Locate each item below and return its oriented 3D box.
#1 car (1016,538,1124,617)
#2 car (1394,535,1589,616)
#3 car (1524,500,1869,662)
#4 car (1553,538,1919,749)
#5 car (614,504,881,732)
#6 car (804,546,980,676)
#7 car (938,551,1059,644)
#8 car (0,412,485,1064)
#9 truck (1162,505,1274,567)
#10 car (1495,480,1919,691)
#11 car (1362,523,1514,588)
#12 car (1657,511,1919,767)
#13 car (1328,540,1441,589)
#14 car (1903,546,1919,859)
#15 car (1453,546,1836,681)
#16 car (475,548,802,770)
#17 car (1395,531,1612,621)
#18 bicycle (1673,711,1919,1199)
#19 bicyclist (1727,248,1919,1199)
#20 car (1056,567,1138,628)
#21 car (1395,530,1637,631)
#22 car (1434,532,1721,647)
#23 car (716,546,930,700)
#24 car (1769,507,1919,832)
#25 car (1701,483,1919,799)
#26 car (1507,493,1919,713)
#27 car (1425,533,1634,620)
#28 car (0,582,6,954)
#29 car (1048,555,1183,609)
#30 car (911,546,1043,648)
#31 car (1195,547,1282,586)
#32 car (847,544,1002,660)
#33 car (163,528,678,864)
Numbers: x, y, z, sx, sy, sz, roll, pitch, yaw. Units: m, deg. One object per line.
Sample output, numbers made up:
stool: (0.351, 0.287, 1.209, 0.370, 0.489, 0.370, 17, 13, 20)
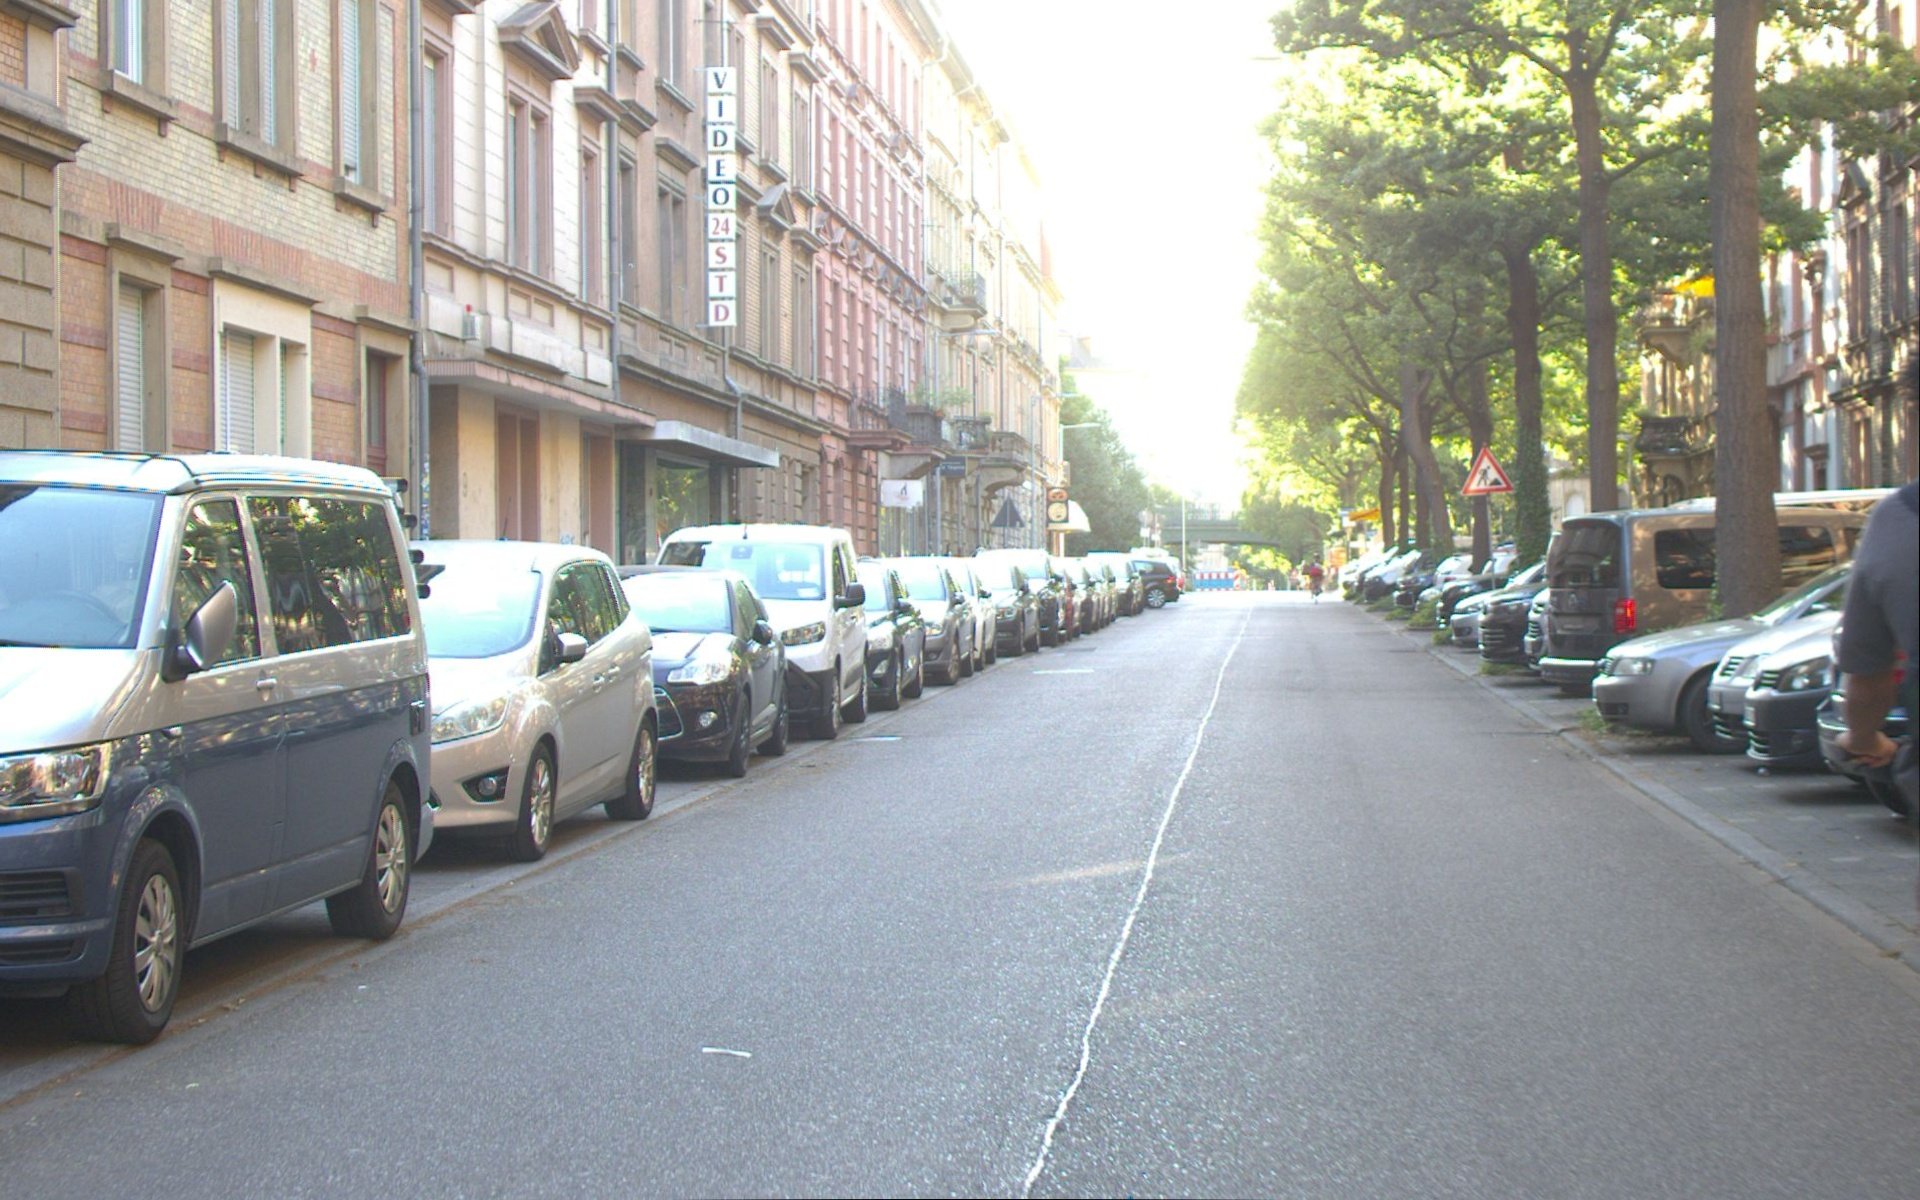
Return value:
car: (2.265, -0.438, 69.684, 1.994, 1.481, 3.999, -1, -1, 4)
car: (11.456, -0.528, 74.250, 3.850, 1.568, 1.718, -2, 1, -2)
car: (9.052, -0.239, 42.475, 3.850, 1.791, 1.718, -2, 1, 2)
car: (6.702, 0.268, 25.584, 4.221, 1.398, 1.835, -2, 1, 1)
car: (-1.790, 0.116, 30.345, 1.759, 1.835, 4.529, -1, 1, 4)
car: (-0.772, 0.097, 41.451, 1.759, 1.468, 4.059, -1, 1, 4)
car: (0.676, -0.066, 57.268, 1.759, 1.468, 4.059, -1, 1, 4)
car: (-3.305, 0.357, 12.938, 1.832, 1.936, 5.259, 1, 1, 5)
truck: (17.205, -4.246, 229.196, 7.222, 3.937, 2.437, 1, 1, -31)
car: (8.075, -0.171, 34.863, 5.058, 1.919, 1.835, -2, 1, 5)
car: (12.761, -1.187, 91.941, 3.851, 1.568, 1.718, -2, 1, 5)
car: (7.041, 0.177, 23.163, 4.220, 1.605, 1.835, -2, 1, -2)
car: (15.064, -1.281, 122.165, 3.851, 1.568, 1.718, -2, 1, 5)
car: (6.391, 0.405, 15.149, 4.011, 1.462, 1.733, -2, 0, 5)
car: (7.472, 0.129, 37.799, 3.850, 1.289, 1.718, -2, 1, 2)
car: (-2.278, 0.368, 25.375, 1.759, 1.462, 4.000, 1, 1, 4)
car: (10.607, -0.475, 67.250, 3.850, 1.568, 1.718, -2, 1, -2)
bicycle: (2.038, 0.847, 6.525, 0.996, 1.154, 2.922, 0, 0, 5)
bicyclist: (2.051, 0.275, 6.536, 0.996, 1.784, 1.207, 0, 0, 5)
car: (3.600, -0.044, 89.779, 1.994, 1.481, 3.999, -1, -1, 4)
car: (9.670, -0.340, 59.973, 3.850, 1.568, 1.718, -2, 1, -2)
car: (8.949, -0.159, 50.041, 3.850, 1.474, 1.718, -2, 1, 2)
car: (-1.348, 0.188, 35.378, 1.759, 1.468, 4.059, -1, 1, 4)
car: (6.395, 0.273, 17.848, 4.011, 1.601, 1.733, -2, 0, 5)
car: (6.719, 0.152, 20.477, 4.221, 1.770, 1.835, -2, 1, 4)
car: (7.326, -0.013, 31.185, 4.220, 1.789, 1.835, -3, 1, -14)
car: (11.504, -0.480, 69.578, 3.850, 1.568, 1.718, -2, 1, -2)
car: (-3.574, 0.692, 7.424, 1.593, 1.470, 3.698, 1, 1, 7)
car: (4.544, -0.505, 100.068, 1.998, 1.481, 3.991, -2, -1, 38)
car: (0.295, -0.073, 52.712, 1.759, 1.468, 4.059, -1, 1, 4)
car: (13.632, -1.640, 168.284, 3.989, 1.853, 1.750, 1, 1, 14)
car: (-0.431, -0.010, 46.308, 1.759, 1.468, 4.059, -1, 1, 4)
car: (-2.826, 0.438, 19.001, 1.754, 1.603, 4.383, 1, 1, 5)
